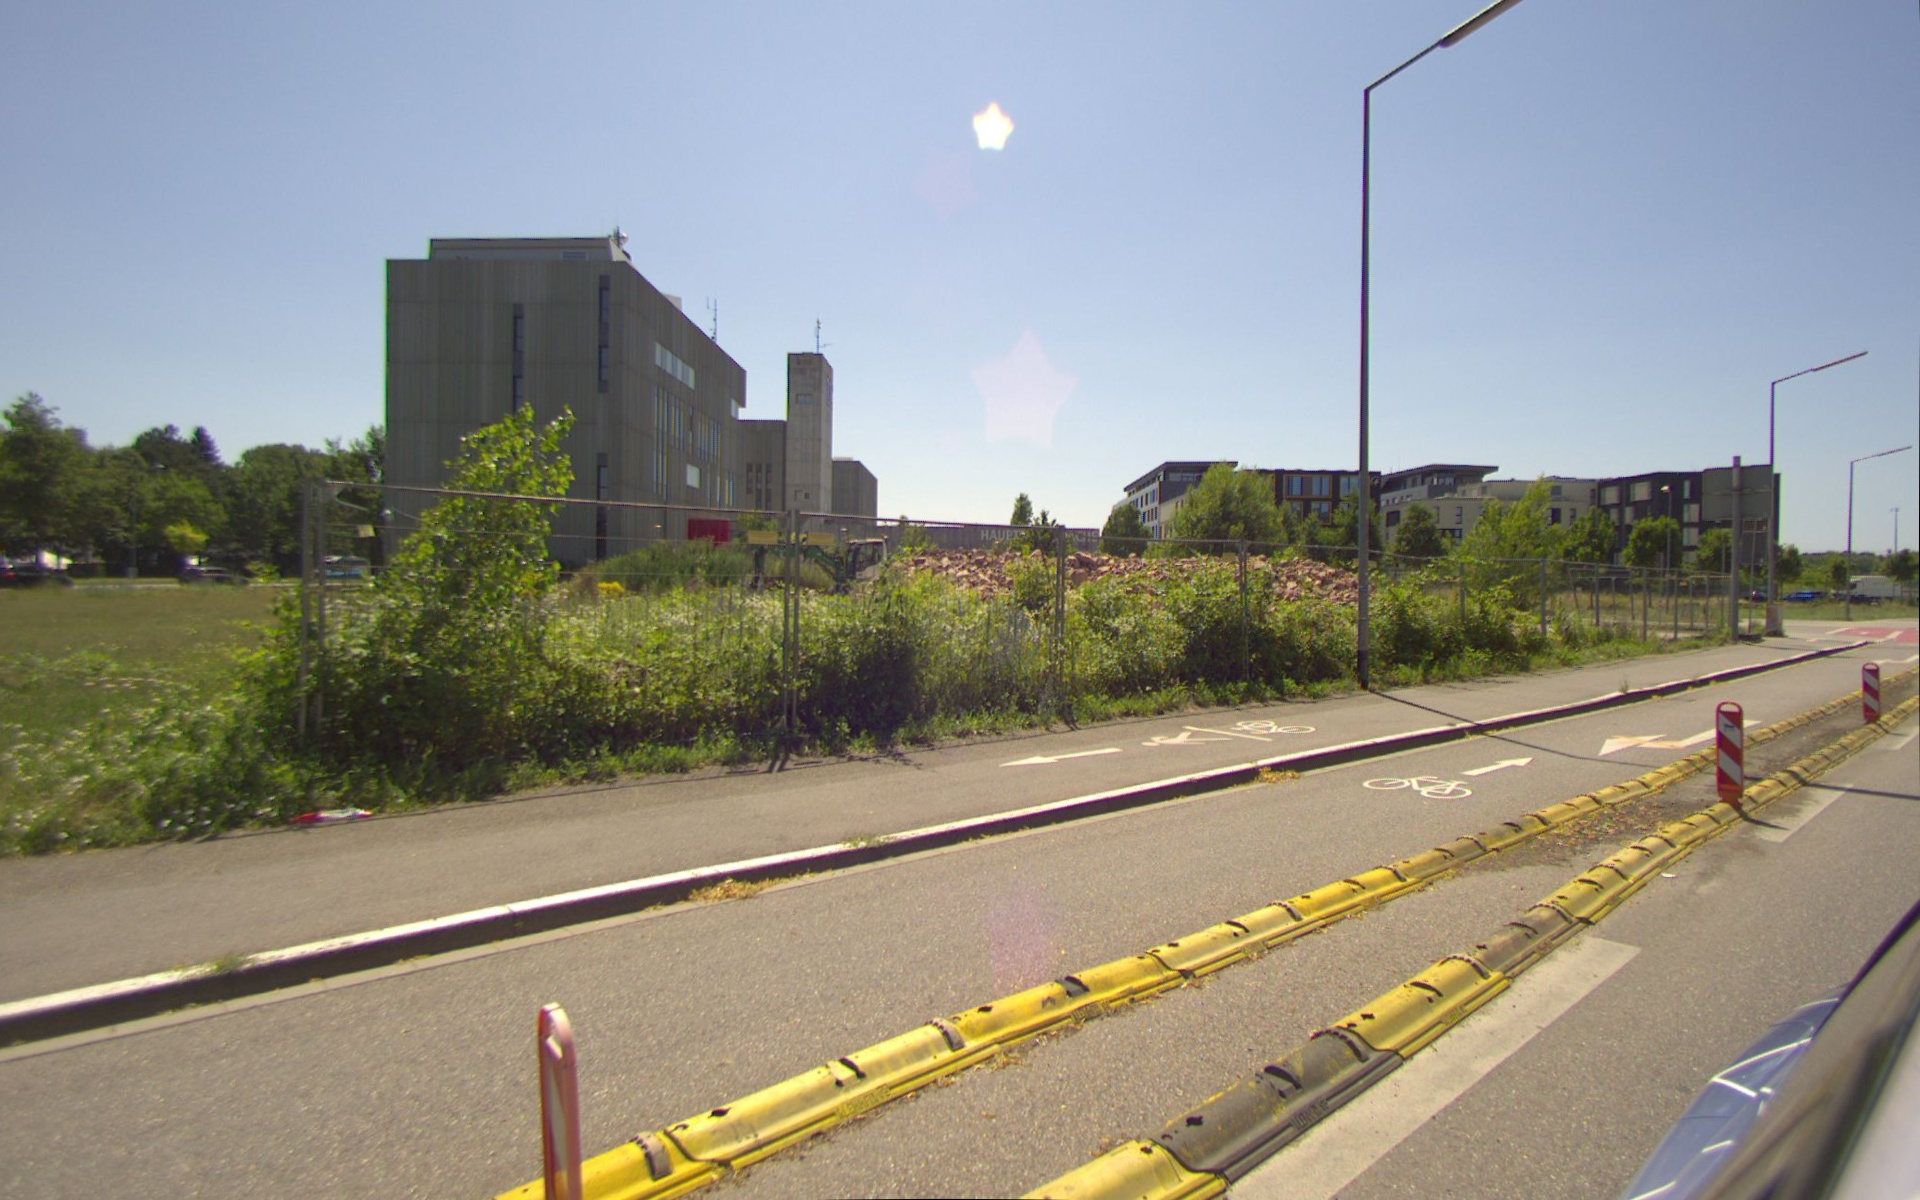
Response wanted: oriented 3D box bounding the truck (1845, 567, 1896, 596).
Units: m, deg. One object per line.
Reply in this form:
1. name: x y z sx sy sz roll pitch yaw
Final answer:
1. truck: 106.744 -2.182 118.681 3.928 3.377 1.998 1 1 4

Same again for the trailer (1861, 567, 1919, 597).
1. trailer: 110.540 -2.088 118.382 8.030 3.390 1.998 1 1 4

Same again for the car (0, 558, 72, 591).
1. car: -51.877 -1.397 56.087 1.775 1.772 3.998 0 1 3

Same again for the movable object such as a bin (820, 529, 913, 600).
1. movable object such as a bin: -4.230 -1.558 45.992 3.619 3.101 2.207 0 1 -35

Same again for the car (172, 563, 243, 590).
1. car: -51.352 -1.584 69.114 1.775 1.772 3.998 0 1 3

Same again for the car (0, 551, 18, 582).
1. car: -57.237 -1.952 58.410 1.778 1.772 3.992 0 1 8

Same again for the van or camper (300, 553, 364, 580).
1. van or camper: -67.588 -3.534 109.168 2.465 2.727 7.516 0 1 -2
